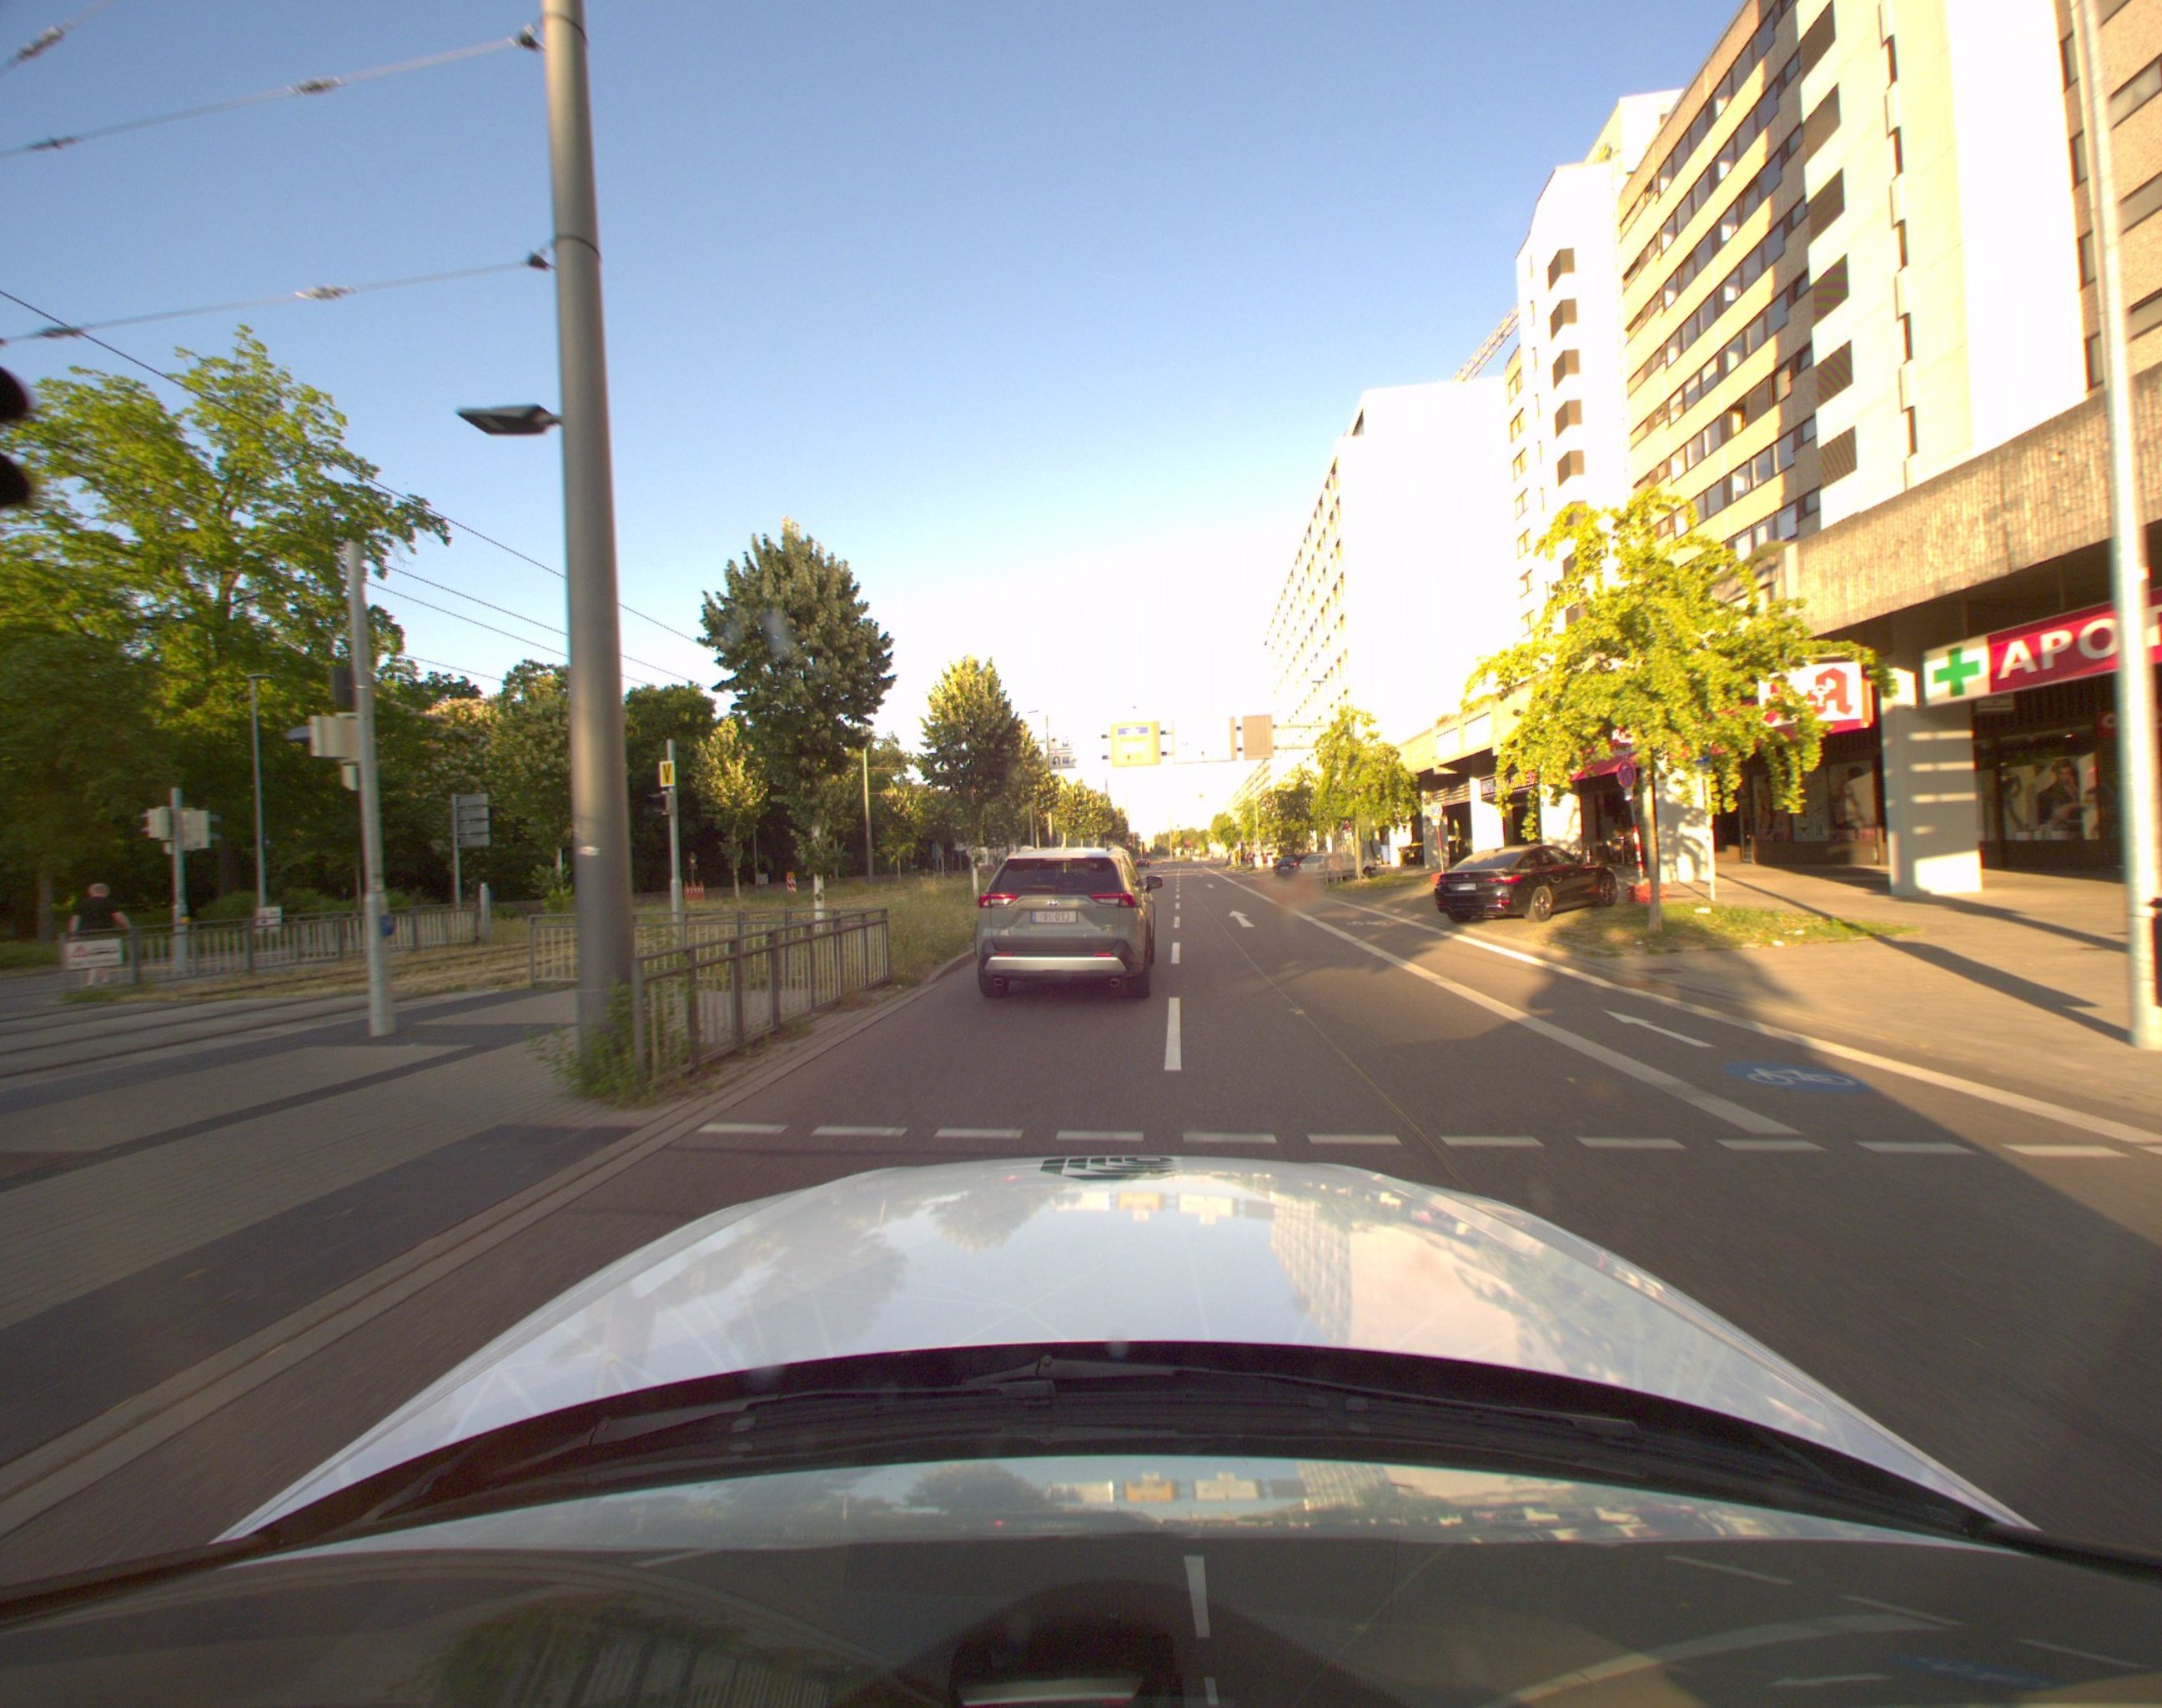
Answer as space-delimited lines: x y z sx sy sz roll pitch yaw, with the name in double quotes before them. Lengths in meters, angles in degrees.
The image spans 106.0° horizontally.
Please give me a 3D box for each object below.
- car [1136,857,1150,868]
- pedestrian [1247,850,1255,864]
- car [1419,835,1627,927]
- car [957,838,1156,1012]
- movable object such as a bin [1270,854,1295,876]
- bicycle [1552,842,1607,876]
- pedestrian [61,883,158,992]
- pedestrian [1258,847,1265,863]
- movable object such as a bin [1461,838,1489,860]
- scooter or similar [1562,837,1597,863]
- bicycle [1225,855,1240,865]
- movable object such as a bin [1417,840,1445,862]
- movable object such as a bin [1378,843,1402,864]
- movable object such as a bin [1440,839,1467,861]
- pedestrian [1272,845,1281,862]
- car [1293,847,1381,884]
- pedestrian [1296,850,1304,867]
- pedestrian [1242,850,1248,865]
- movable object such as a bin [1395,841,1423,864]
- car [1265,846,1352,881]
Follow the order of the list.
"car" 8.191 1.095 106.774 1.665 1.352 4.008 -1 0 7
"pedestrian" 20.881 0.348 100.126 0.681 1.735 0.762 -5 -1 6
"car" 9.158 0.489 16.739 4.626 1.453 1.794 -4 0 -35
"car" -0.051 0.698 10.106 1.824 1.672 4.290 -1 0 6
"movable object such as a bin" 12.447 0.676 50.330 1.081 1.301 1.361 -5 0 0
"bicycle" 17.429 0.179 28.476 1.565 1.048 0.434 -5 -1 5
"pedestrian" -15.673 1.322 13.162 0.679 1.607 0.665 -4 4 -27
"pedestrian" 20.983 0.164 94.548 0.572 1.786 0.832 -4 -2 14
"movable object such as a bin" 24.125 -0.309 49.928 1.176 1.313 1.089 -3 0 5
"scooter or similar" 22.792 -0.186 37.274 0.400 1.161 1.829 0 0 -3
"bicycle" 19.751 0.808 105.967 1.786 1.193 0.568 -5 -1 1
"movable object such as a bin" 21.529 -0.178 50.061 1.176 1.299 1.306 -3 0 5
"movable object such as a bin" 20.643 -0.051 54.472 1.099 1.329 1.285 -4 0 6
"movable object such as a bin" 22.897 -0.255 50.053 1.176 1.313 1.126 -3 0 5
"pedestrian" 22.239 -0.026 92.648 0.818 1.888 0.869 -4 -2 15
"car" 12.149 0.539 38.599 4.005 1.416 1.733 -4 -1 -32
"pedestrian" 21.456 0.402 79.782 0.573 1.619 0.643 -4 0 3
"pedestrian" 20.182 0.424 100.223 0.650 1.702 0.690 -4 -1 6
"movable object such as a bin" 20.163 -0.089 50.091 1.176 1.323 1.268 -5 0 5
"car" 12.586 0.509 45.029 4.688 1.508 1.919 -4 -1 -33
